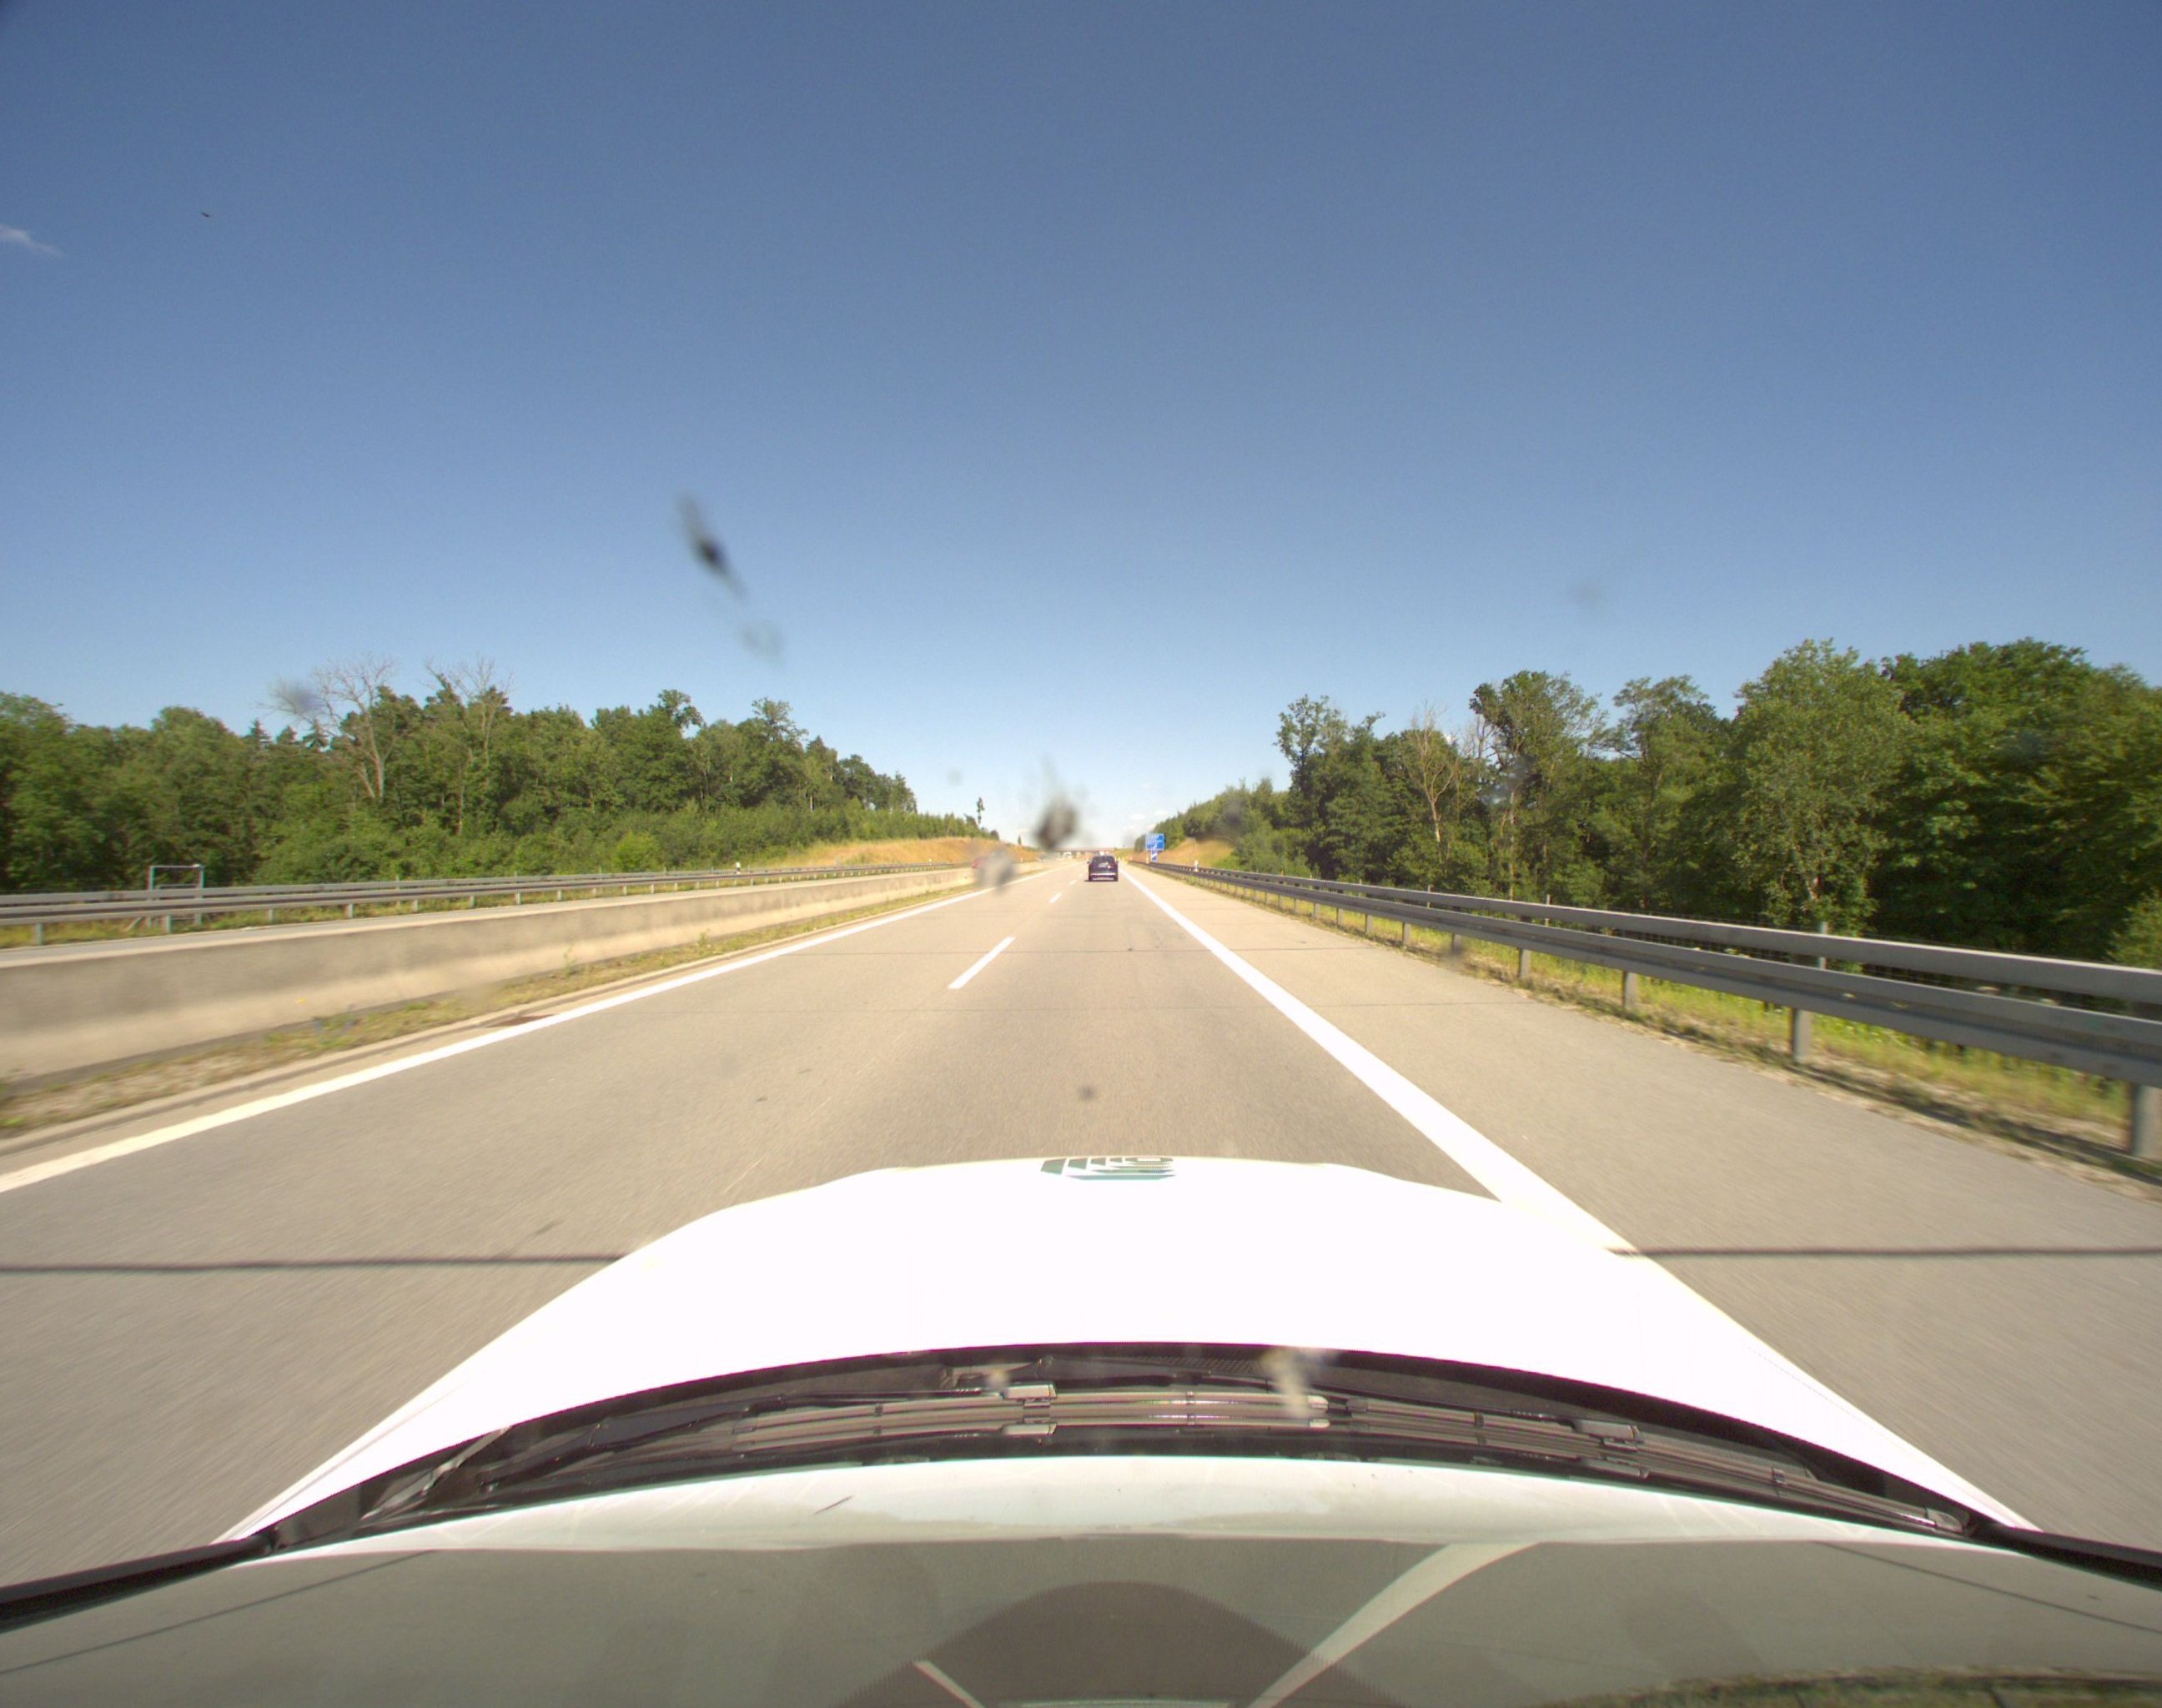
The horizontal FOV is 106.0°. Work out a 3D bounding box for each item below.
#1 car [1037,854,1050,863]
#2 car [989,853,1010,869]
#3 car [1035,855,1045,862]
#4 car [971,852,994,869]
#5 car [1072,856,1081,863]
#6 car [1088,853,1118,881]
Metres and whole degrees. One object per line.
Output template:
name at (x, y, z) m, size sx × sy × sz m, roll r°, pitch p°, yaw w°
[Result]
car at (-6.752, 0.837, 148.768) m, size 1.986 × 1.581 × 4.651 m, roll 0°, pitch 0°, yaw 2°
car at (-11.067, 0.969, 111.081) m, size 1.986 × 2.083 × 6.230 m, roll 0°, pitch 0°, yaw 2°
car at (-9.784, 1.082, 193.545) m, size 1.986 × 1.581 × 4.651 m, roll 0°, pitch 0°, yaw 2°
car at (-10.291, 0.654, 85.635) m, size 1.660 × 1.644 × 4.891 m, roll 0°, pitch 0°, yaw 2°
car at (-0.983, 1.265, 194.442) m, size 1.986 × 1.581 × 4.651 m, roll 0°, pitch 0°, yaw 2°
car at (1.396, 0.772, 50.504) m, size 1.715 × 1.587 × 5.224 m, roll 0°, pitch 0°, yaw 2°
